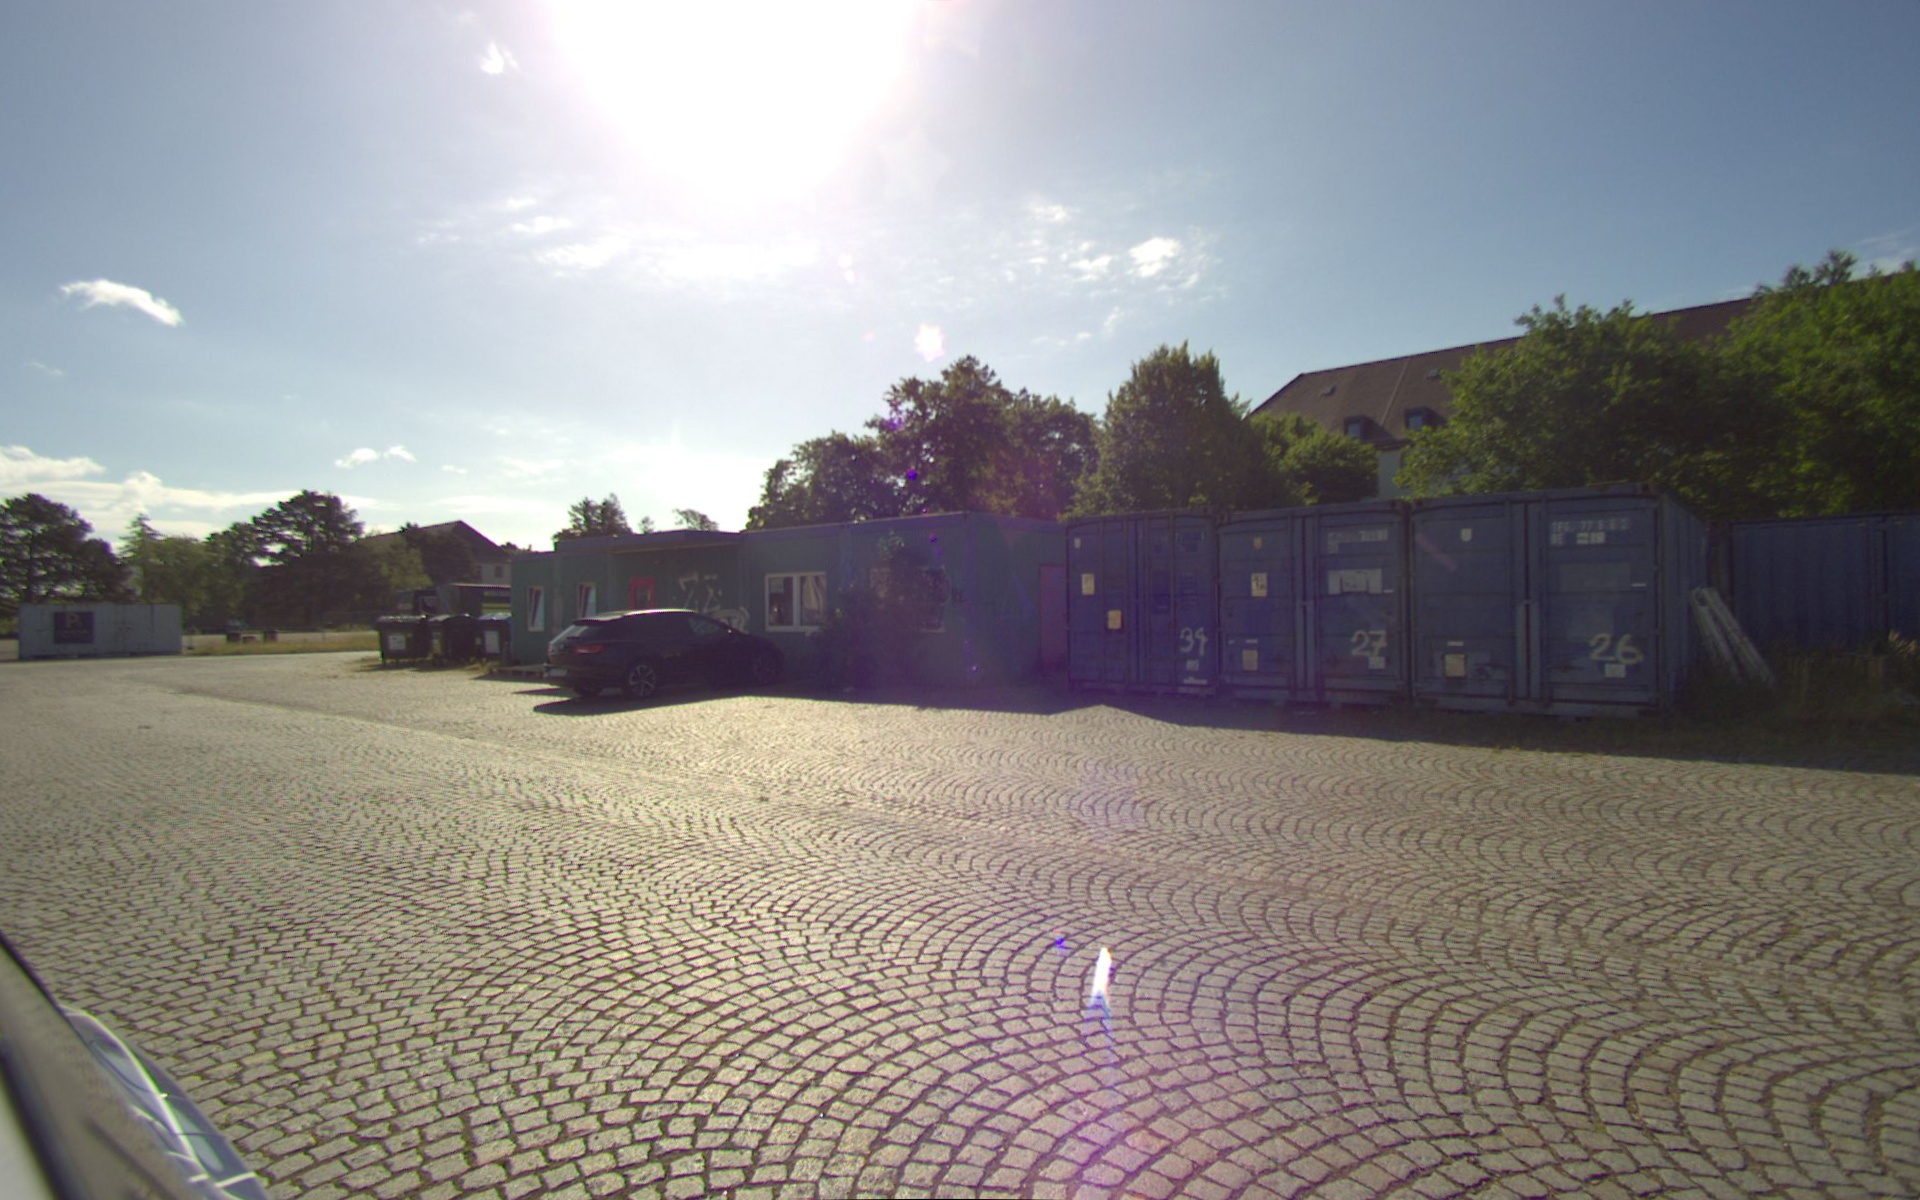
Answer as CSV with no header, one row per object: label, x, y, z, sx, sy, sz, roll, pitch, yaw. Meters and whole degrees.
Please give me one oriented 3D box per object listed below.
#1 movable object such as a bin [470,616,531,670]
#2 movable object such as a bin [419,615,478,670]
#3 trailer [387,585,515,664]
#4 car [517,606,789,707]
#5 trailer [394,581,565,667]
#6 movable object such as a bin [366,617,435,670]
movable object such as a bin,-12.809,1.184,28.232,1.435,1.469,0.876,-1,0,31
movable object such as a bin,-14.552,1.190,28.779,1.440,1.469,1.007,-1,0,41
trailer,-17.269,0.780,34.392,2.044,2.488,3.349,-1,0,42
car,-5.238,0.889,17.733,1.929,1.460,4.210,-1,0,39
trailer,-15.451,0.697,32.752,1.948,2.587,4.594,-1,0,37
movable object such as a bin,-16.453,1.272,29.803,1.416,1.469,1.157,-1,0,-6
